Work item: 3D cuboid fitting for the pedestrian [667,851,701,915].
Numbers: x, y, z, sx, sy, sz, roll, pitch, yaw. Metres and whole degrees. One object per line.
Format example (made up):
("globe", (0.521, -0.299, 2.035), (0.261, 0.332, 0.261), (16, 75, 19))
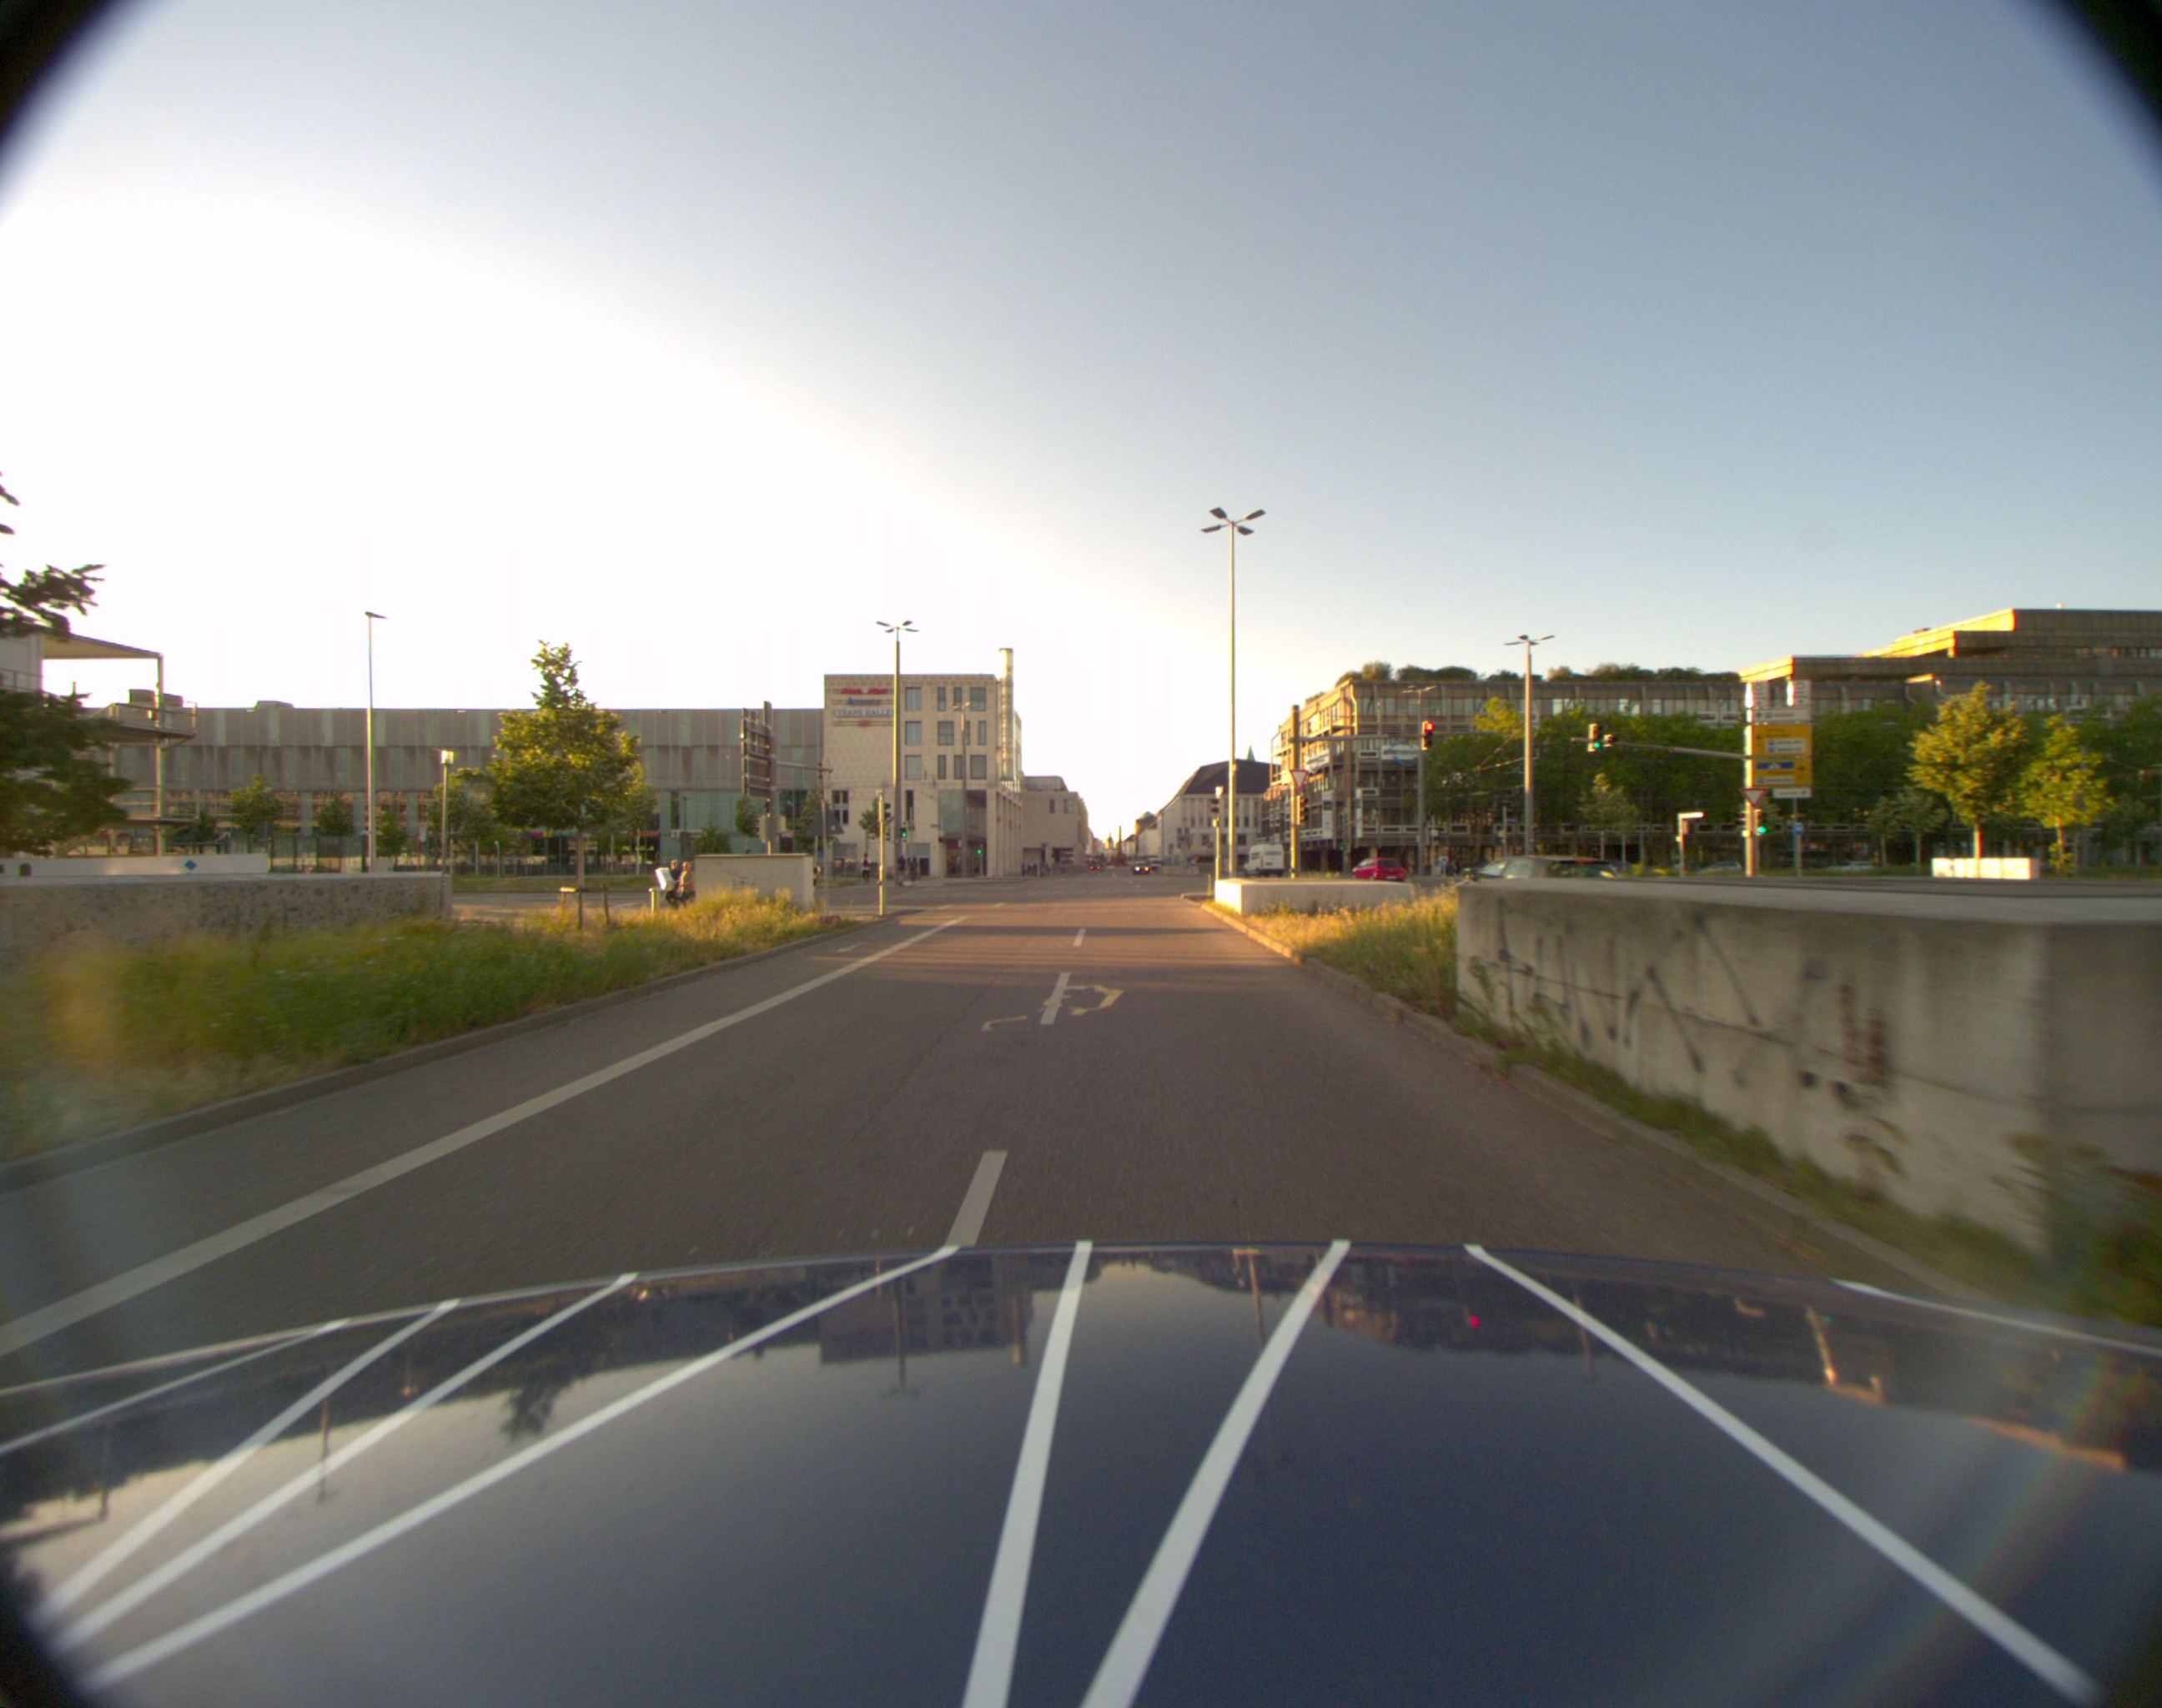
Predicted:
("pedestrian", (-12.014, 0.876, 23.006), (0.644, 1.922, 0.619), (0, 1, 4))

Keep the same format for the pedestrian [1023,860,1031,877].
("pedestrian", (-5.491, 1.491, 77.091), (0.764, 1.696, 0.834), (0, 0, 0))

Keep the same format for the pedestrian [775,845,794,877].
("pedestrian", (-17.817, 0.432, 45.587), (0.896, 1.843, 0.724), (1, 2, -32))

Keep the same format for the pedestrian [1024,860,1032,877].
("pedestrian", (-5.394, 1.499, 78.001), (0.764, 1.696, 0.834), (0, 0, 0))

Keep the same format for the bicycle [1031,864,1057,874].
("bicycle", (-4.271, 1.741, 87.650), (2.804, 1.208, 0.765), (0, 0, 11))

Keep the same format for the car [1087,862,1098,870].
("car", (2.372, 2.490, 156.300), (2.071, 1.641, 4.001), (0, 0, 3))

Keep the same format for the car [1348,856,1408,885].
("car", (16.451, 0.884, 42.300), (1.639, 1.518, 3.999), (-1, 0, -2))

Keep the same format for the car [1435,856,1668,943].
("car", (9.018, 0.784, 15.139), (1.891, 1.457, 4.538), (0, 0, 1))

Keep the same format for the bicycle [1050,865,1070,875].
("bicycle", (-2.676, 2.064, 97.389), (2.507, 1.316, 0.619), (0, 1, 1))

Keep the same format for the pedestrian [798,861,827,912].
("pedestrian", (-8.725, 1.040, 24.704), (0.644, 1.618, 0.871), (0, 0, -1))

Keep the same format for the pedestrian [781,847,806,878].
("pedestrian", (-16.643, 0.500, 43.966), (0.868, 1.715, 1.009), (3, 2, 28))

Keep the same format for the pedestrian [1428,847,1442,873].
("pedestrian", (26.148, 0.427, 56.120), (0.644, 1.920, 0.681), (0, 1, -1))

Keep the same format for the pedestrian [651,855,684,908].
("pedestrian", (-13.576, 0.894, 24.952), (0.643, 1.702, 0.763), (0, 0, 7))

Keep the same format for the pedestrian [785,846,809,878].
("pedestrian", (-16.888, 0.452, 45.195), (0.892, 1.843, 1.007), (3, 2, 14))

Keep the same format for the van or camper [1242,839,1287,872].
("van or camper", (15.516, 0.196, 64.698), (2.232, 2.650, 6.163), (0, -1, -1))

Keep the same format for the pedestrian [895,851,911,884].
("pedestrian", (-9.660, 0.724, 41.245), (0.644, 1.720, 0.871), (0, 1, 4))

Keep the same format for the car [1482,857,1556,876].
("car", (37.664, 1.100, 65.405), (5.159, 1.575, 2.000), (0, 0, 1))

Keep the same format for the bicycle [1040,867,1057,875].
("bicycle", (-4.357, 2.276, 102.515), (2.211, 1.035, 0.509), (0, 0, 0))

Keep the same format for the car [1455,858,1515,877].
("car", (36.512, 1.216, 68.708), (4.398, 1.641, 1.858), (0, -1, 0))

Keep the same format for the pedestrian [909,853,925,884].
("pedestrian", (-8.875, 0.793, 41.129), (0.644, 1.650, 0.871), (0, 1, 4))

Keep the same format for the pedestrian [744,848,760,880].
("pedestrian", (-18.903, 0.563, 43.703), (0.604, 1.843, 0.586), (0, 1, 5))

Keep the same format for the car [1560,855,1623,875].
("car", (43.947, 0.951, 65.474), (3.997, 1.641, 2.073), (0, 0, 0))

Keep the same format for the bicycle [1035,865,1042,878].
("bicycle", (-4.731, 1.951, 85.482), (0.618, 1.316, 2.509), (0, 0, 0))

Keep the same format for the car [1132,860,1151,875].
("car", (7.019, 1.606, 88.393), (2.071, 1.641, 4.001), (0, 0, 3))

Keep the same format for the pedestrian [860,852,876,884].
("pedestrian", (-12.170, 0.780, 43.448), (0.644, 1.803, 0.871), (0, 1, 4))
